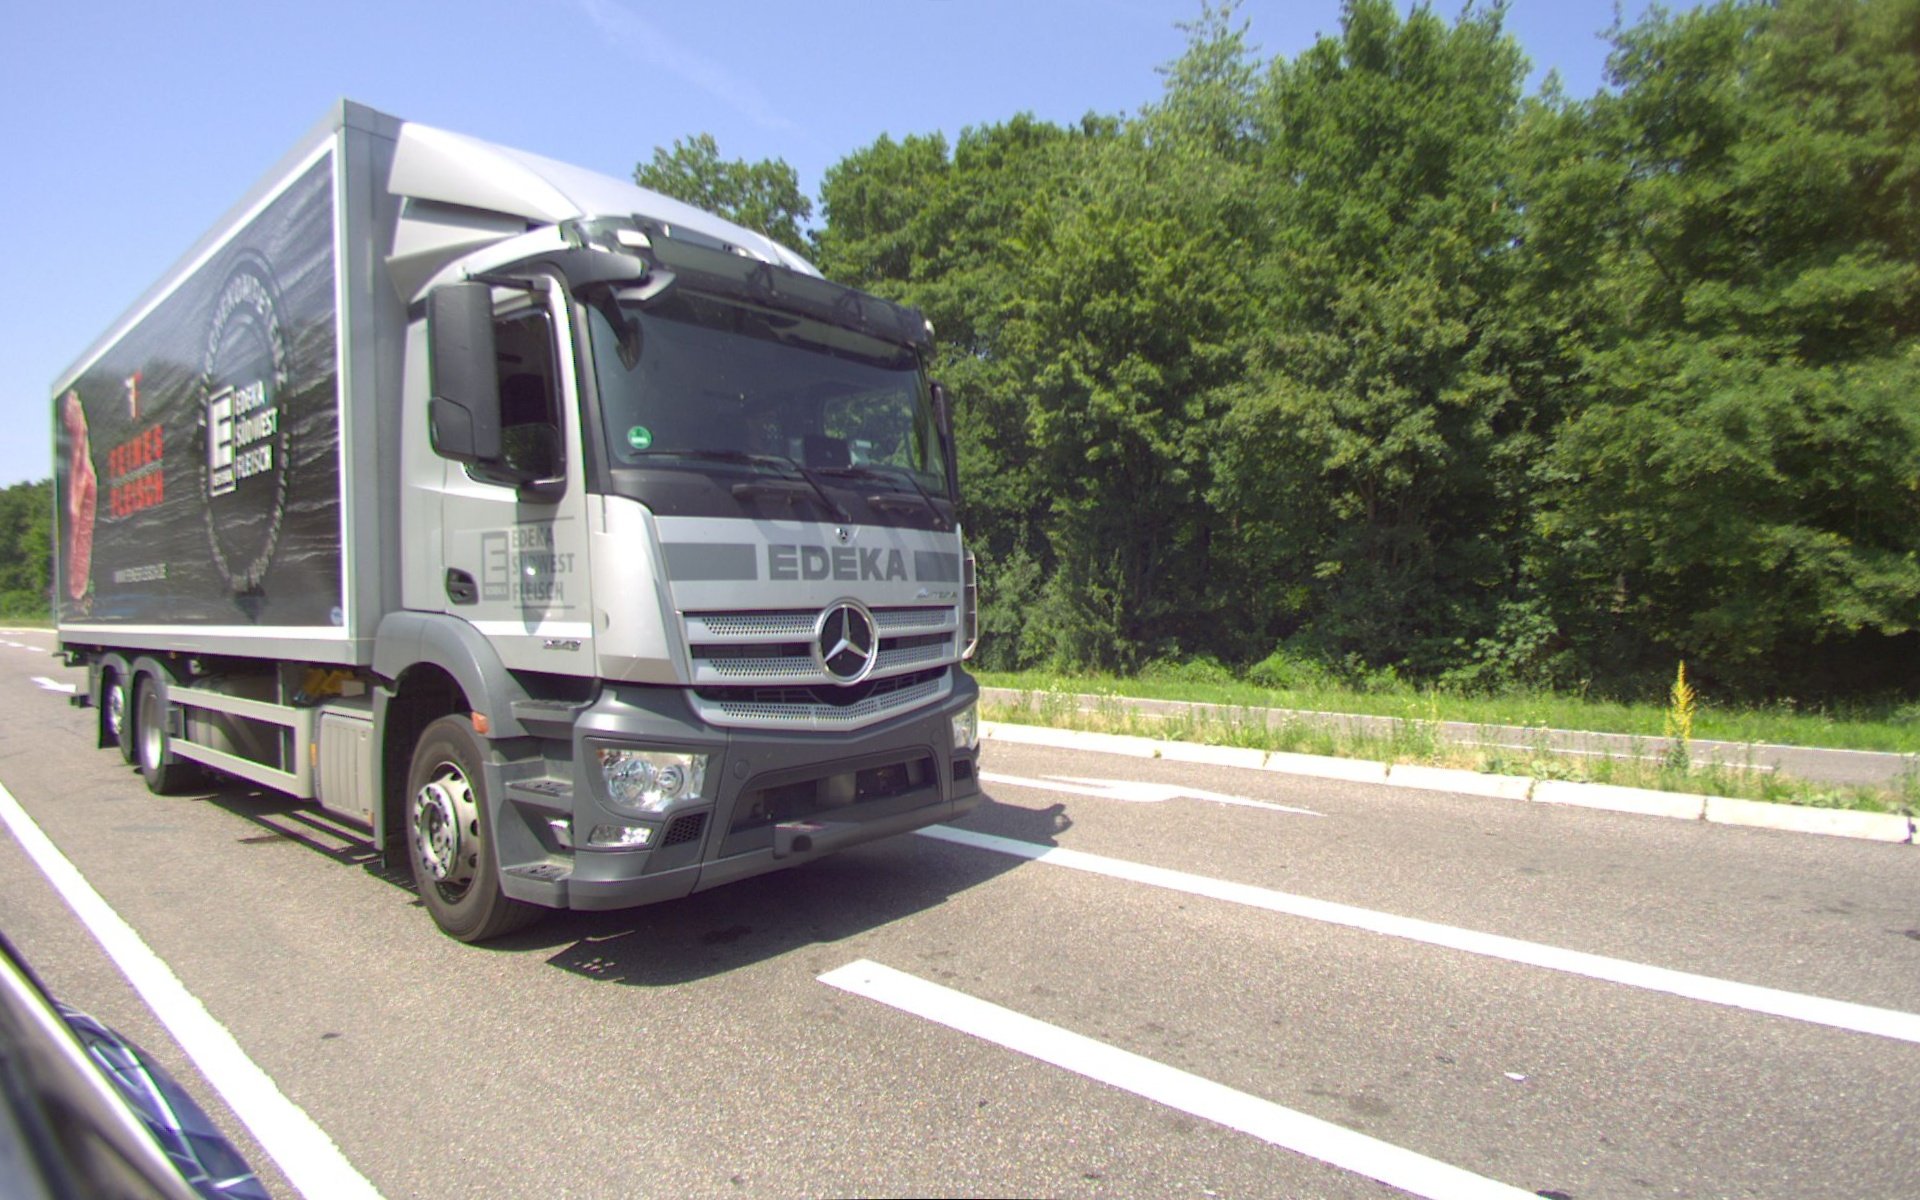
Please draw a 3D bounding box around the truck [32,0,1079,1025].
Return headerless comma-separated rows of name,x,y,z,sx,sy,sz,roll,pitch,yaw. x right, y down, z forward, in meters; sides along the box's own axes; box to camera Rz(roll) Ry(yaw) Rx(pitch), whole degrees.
truck,-4.555,-0.546,8.000,11.312,3.914,2.718,-1,0,40
